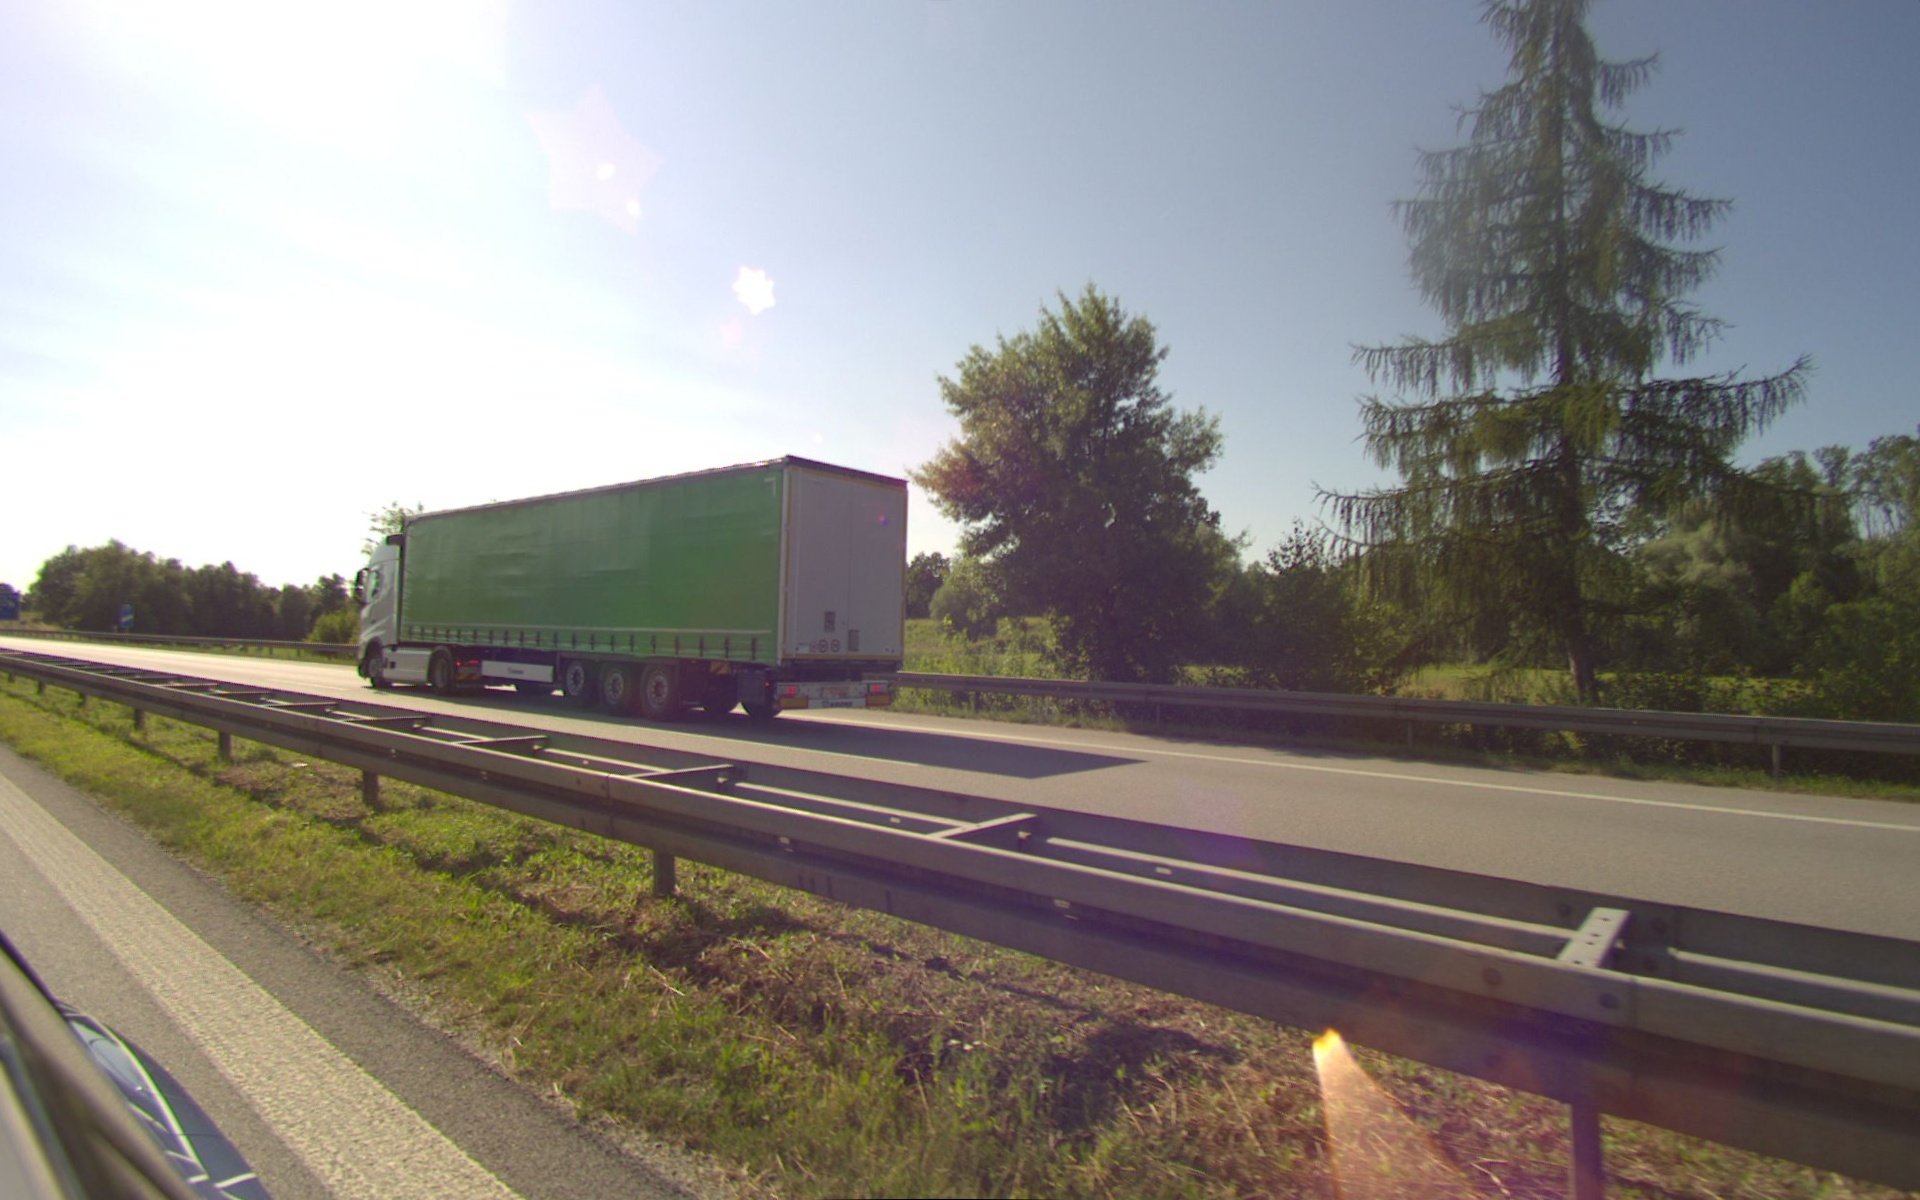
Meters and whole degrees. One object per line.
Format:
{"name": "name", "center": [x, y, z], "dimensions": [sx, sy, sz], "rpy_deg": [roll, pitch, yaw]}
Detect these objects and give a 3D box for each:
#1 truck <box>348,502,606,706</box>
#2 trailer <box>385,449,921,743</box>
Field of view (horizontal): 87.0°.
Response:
{"name": "truck", "center": [-11.333, 0.193, 23.387], "dimensions": [7.189, 4.039, 2.616], "rpy_deg": [-1, -4, 41]}
{"name": "trailer", "center": [-6.831, 0.108, 19.471], "dimensions": [14.078, 4.039, 2.634], "rpy_deg": [-1, -3, 41]}
